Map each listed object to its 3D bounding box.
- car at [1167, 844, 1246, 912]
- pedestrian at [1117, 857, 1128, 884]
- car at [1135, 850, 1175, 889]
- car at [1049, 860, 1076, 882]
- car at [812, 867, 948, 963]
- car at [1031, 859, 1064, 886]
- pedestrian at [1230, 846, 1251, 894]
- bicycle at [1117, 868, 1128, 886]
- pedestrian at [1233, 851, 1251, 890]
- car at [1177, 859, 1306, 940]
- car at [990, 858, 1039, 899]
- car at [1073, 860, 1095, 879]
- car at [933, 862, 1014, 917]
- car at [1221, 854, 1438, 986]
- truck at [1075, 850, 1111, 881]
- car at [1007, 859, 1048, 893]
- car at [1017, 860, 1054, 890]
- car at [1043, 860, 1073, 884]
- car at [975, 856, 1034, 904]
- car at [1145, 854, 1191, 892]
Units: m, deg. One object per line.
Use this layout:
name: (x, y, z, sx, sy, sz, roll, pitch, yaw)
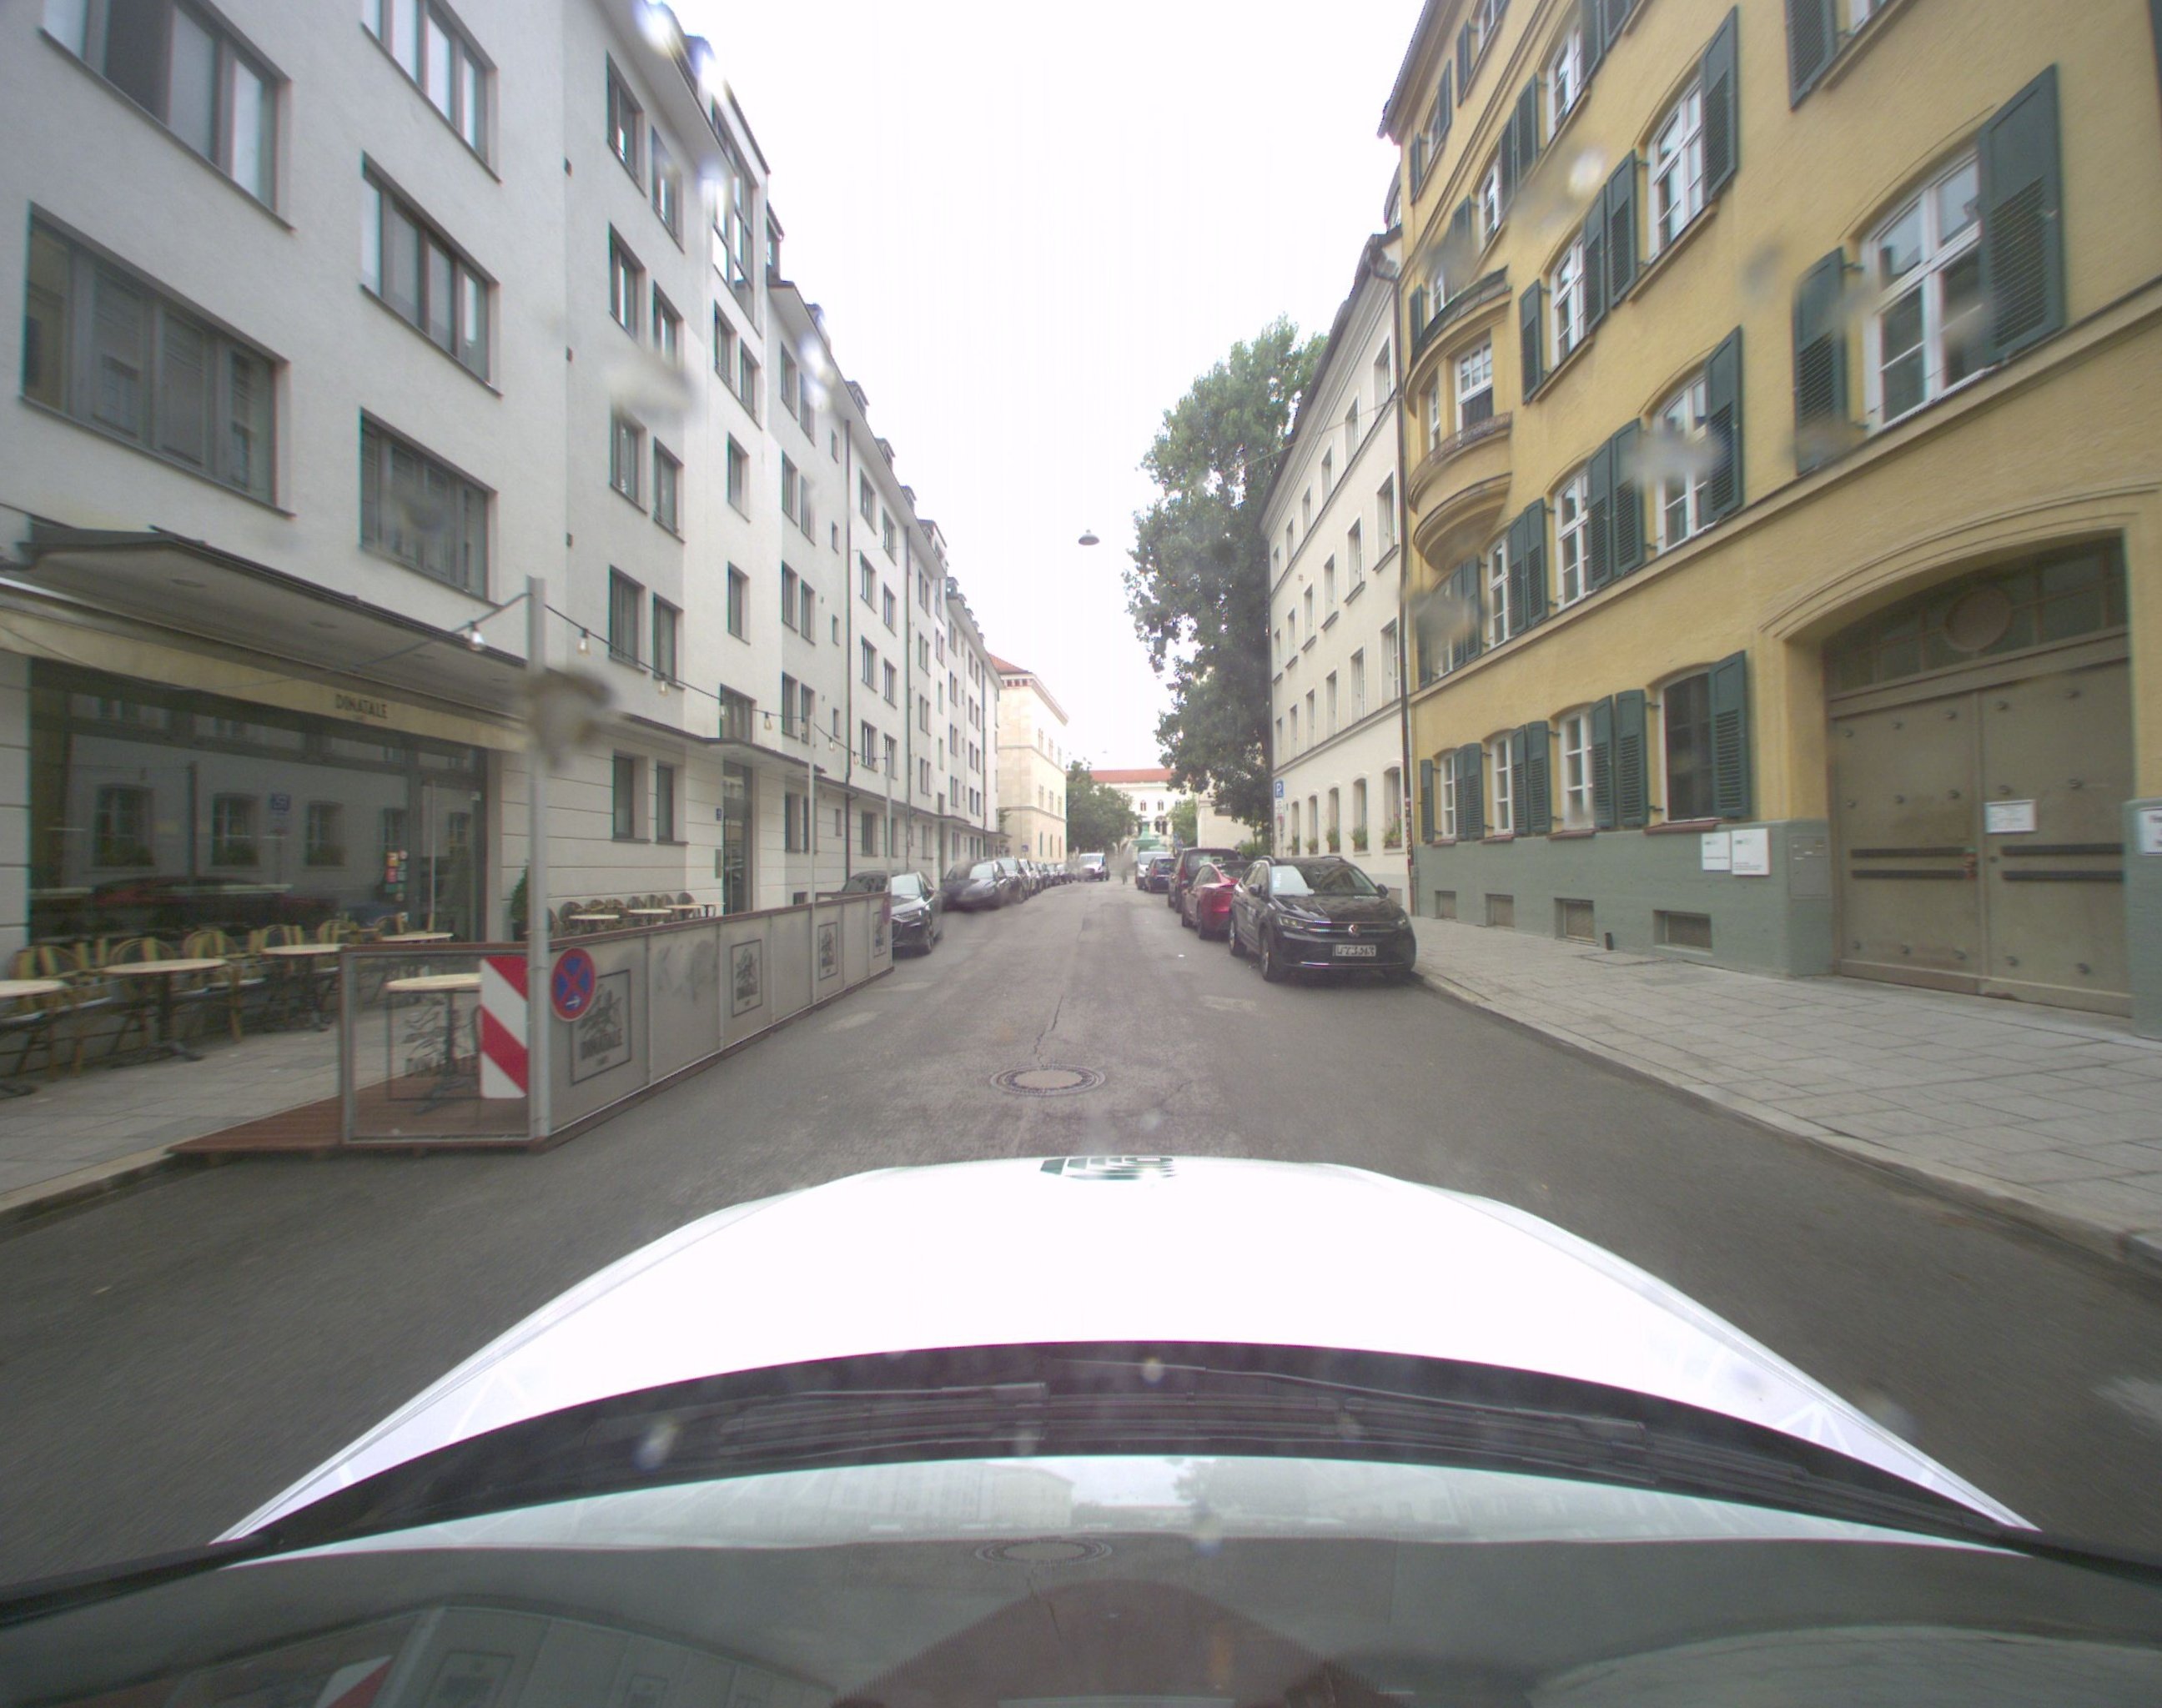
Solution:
car: (3.523, 0.659, 23.559, 1.804, 1.797, 4.249, 0, -1, 2)
pedestrian: (2.715, 1.073, 53.321, 0.639, 1.714, 0.843, -1, -2, 2)
car: (3.886, 0.782, 43.440, 1.844, 1.919, 4.772, -1, -1, 2)
car: (-1.459, 1.317, 64.220, 1.699, 1.581, 3.867, -2, -1, 4)
car: (-3.457, 0.971, 14.751, 1.759, 1.410, 4.147, -2, -1, -6)
car: (-2.146, 1.186, 53.202, 1.699, 1.609, 3.866, -2, -1, 4)
pedestrian: (6.849, 0.701, 34.977, 0.667, 1.980, 0.709, -4, -2, 2)
bicycle: (2.719, 1.507, 53.263, 0.673, 1.095, 1.761, -1, -2, 3)
pedestrian: (8.525, 0.870, 43.104, 0.667, 1.980, 0.709, -4, -2, 2)
car: (3.071, 0.821, 16.480, 1.806, 1.425, 4.246, 0, -1, 0)
car: (-2.844, 1.024, 35.501, 1.700, 1.609, 3.863, -2, -1, 1)
car: (0.296, 1.372, 72.759, 1.699, 1.581, 3.867, -2, -1, 4)
car: (-3.159, 1.002, 24.552, 1.811, 1.444, 3.819, -2, -1, 1)
car: (3.132, 0.755, 11.192, 1.805, 1.465, 4.248, 0, -1, 2)
truck: (1.019, 0.935, 64.987, 2.109, 2.247, 6.197, -2, -1, 7)
car: (-2.714, 1.096, 41.752, 1.700, 1.609, 3.863, -2, -1, 1)
car: (-2.619, 1.178, 47.601, 1.699, 1.609, 3.866, -2, -1, 3)
car: (-1.594, 1.279, 58.242, 1.699, 1.609, 3.867, -2, -1, 4)
car: (-2.782, 0.927, 30.287, 1.700, 1.609, 3.863, -2, -1, 1)
car: (3.960, 0.857, 37.547, 1.804, 1.614, 4.158, -1, -1, 2)
